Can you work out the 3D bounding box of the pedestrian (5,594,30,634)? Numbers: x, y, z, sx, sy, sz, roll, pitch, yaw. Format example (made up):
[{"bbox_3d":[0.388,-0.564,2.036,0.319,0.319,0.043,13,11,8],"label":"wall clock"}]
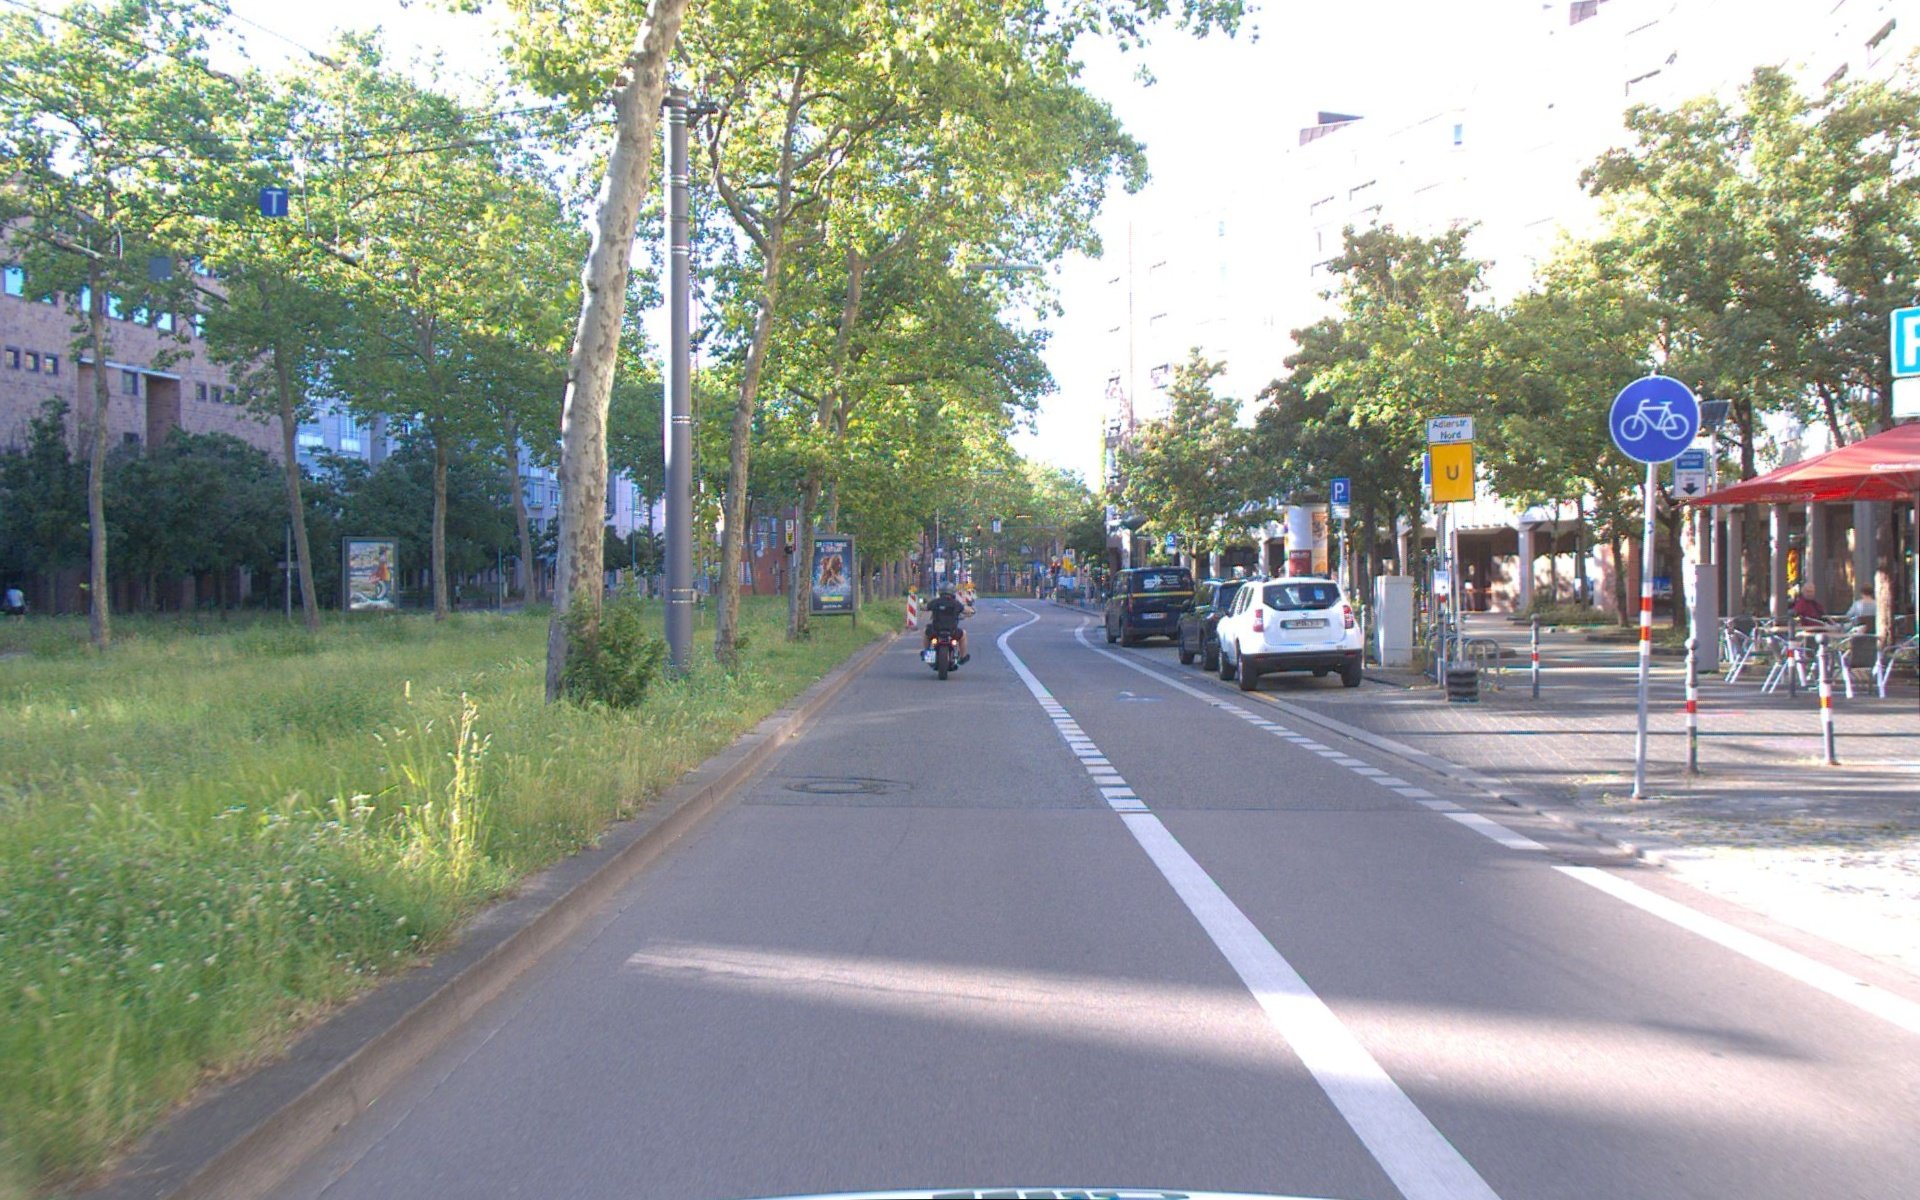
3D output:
[{"bbox_3d":[-30.985,0.464,54.396,0.491,1.313,0.522,-1,1,5],"label":"pedestrian"}]

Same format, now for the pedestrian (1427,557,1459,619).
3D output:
[{"bbox_3d":[16.313,-0.406,55.882,0.848,2.049,0.882,-1,0,1],"label":"pedestrian"}]

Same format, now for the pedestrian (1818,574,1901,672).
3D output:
[{"bbox_3d":[14.745,0.364,27.134,0.852,1.573,0.994,-1,1,2],"label":"pedestrian"}]

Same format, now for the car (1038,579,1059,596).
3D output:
[{"bbox_3d":[9.311,-1.322,174.020,1.951,1.735,4.003,-1,1,6],"label":"car"}]

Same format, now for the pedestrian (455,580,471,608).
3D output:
[{"bbox_3d":[-28.474,-0.340,94.794,0.616,1.547,0.680,0,0,15],"label":"pedestrian"}]

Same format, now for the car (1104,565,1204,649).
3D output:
[{"bbox_3d":[4.990,0.135,43.084,1.988,2.011,4.414,-2,1,-1],"label":"car"}]

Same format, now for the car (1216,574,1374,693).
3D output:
[{"bbox_3d":[5.087,0.451,25.579,1.820,1.666,3.869,-1,1,3],"label":"car"}]

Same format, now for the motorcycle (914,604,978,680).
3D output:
[{"bbox_3d":[-0.217,0.684,27.986,0.985,1.145,2.324,-1,2,2],"label":"motorcycle"}]

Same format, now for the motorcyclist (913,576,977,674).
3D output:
[{"bbox_3d":[-0.235,0.404,27.942,1.001,1.579,1.287,-1,2,2],"label":"motorcyclist"}]

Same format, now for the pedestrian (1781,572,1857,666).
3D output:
[{"bbox_3d":[14.768,0.318,28.466,0.852,1.573,0.995,-1,1,6],"label":"pedestrian"}]

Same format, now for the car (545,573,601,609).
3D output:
[{"bbox_3d":[-19.183,-0.486,82.114,1.861,1.716,4.000,-1,1,0],"label":"car"}]

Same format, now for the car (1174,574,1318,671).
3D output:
[{"bbox_3d":[5.332,0.386,31.367,1.946,1.657,4.085,-2,0,-1],"label":"car"}]
